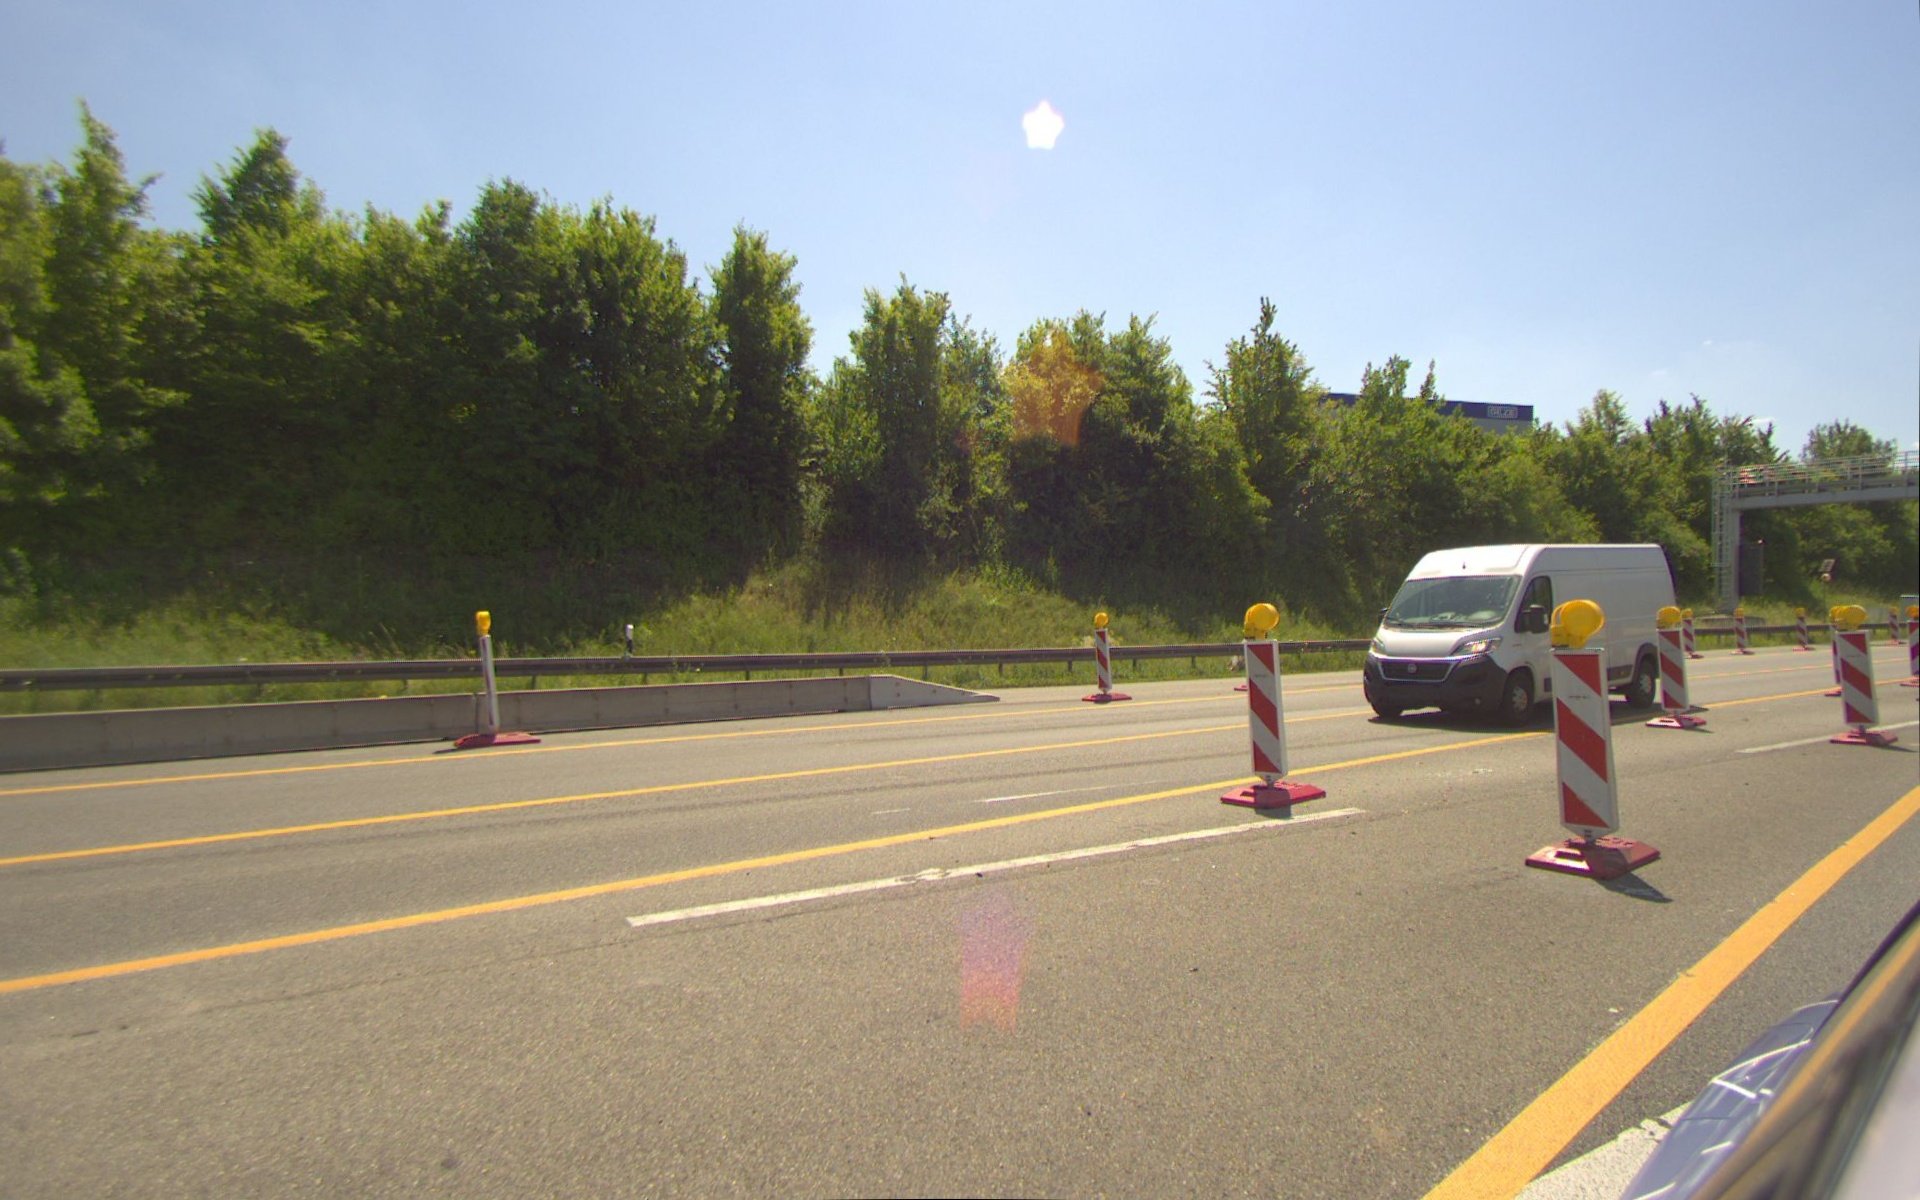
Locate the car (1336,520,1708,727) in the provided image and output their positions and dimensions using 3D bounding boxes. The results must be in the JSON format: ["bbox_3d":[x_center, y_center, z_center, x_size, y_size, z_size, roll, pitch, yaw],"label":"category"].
[{"bbox_3d":[8.690,0.285,15.353,6.458,2.568,2.273,0,0,-34],"label":"car"}]
